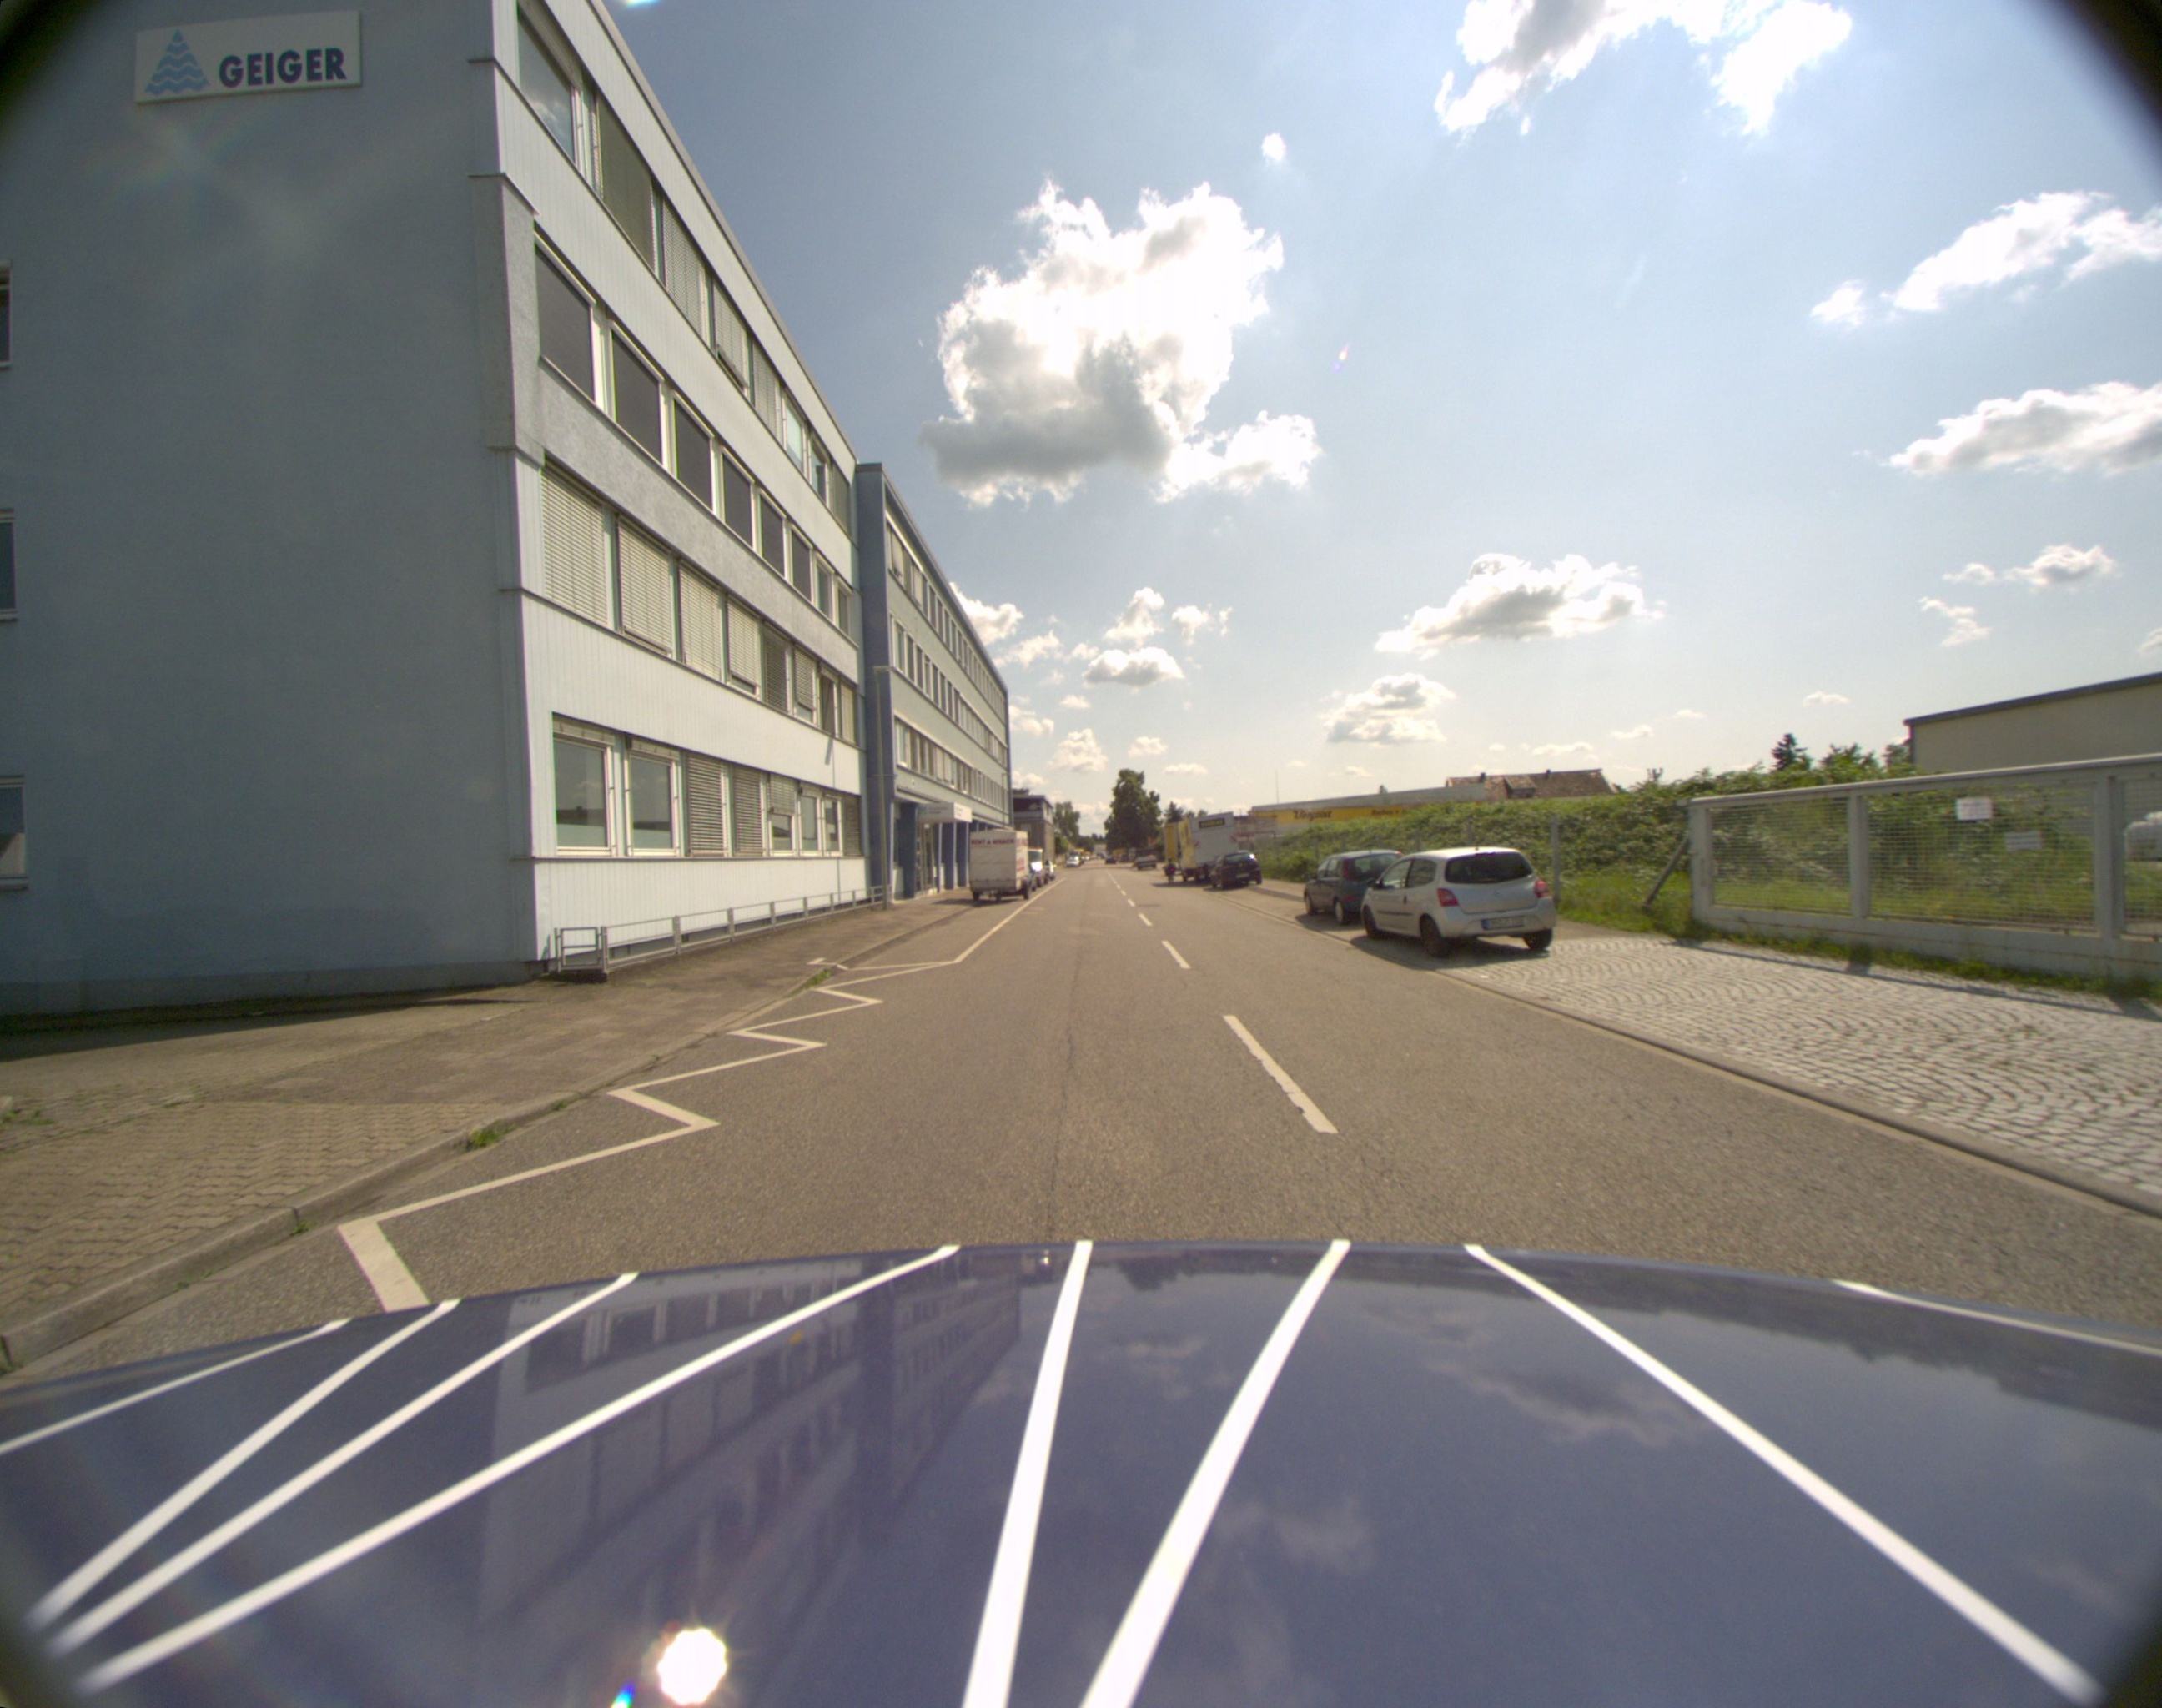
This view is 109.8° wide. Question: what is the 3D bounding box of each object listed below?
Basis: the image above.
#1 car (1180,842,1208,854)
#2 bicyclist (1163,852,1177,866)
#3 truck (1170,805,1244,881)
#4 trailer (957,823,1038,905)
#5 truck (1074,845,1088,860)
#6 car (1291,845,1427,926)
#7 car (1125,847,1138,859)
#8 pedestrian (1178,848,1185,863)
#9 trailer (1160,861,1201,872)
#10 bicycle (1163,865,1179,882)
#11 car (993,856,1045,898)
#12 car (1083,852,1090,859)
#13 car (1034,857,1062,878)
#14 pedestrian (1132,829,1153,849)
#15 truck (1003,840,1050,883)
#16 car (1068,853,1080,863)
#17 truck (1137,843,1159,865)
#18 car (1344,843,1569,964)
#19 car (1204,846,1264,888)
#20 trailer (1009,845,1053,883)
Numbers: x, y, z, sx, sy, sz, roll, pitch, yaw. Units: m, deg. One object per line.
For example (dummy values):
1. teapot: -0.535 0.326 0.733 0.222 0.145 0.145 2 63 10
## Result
1. car: 16.956 -0.871 113.782 4.093 1.703 1.680 -2 0 10
2. bicyclist: 4.309 0.238 36.904 0.567 0.628 1.858 -3 0 4
3. truck: 6.295 -0.502 38.926 2.256 3.342 6.906 -7 0 0
4. trailer: -2.786 0.316 26.617 1.873 2.538 5.072 -2 0 4
5. truck: 0.049 -0.287 143.250 2.402 2.787 6.375 -2 0 2
6. car: 5.869 0.599 16.524 1.572 1.391 3.799 -7 0 3
7. car: 9.882 -0.242 149.401 1.997 2.290 4.003 -2 0 11
8. pedestrian: 10.435 0.141 78.927 0.661 1.536 0.918 -2 0 2
9. trailer: 6.860 0.842 52.844 2.241 0.549 4.444 -2 0 0
10. bicycle: 4.354 0.942 36.899 0.589 0.737 2.125 -2 0 3
11. car: -2.659 0.951 33.537 1.722 1.533 4.403 -3 1 1
12. car: 1.771 0.332 232.966 1.998 2.002 4.000 -2 0 2
13. car: -2.155 0.868 50.431 1.651 1.239 4.000 -2 0 0
14. pedestrian: 6.685 -1.589 82.787 1.998 2.002 4.000 -3 1 2
15. truck: -2.728 0.344 38.914 1.969 2.023 4.734 -2 0 0
16. car: -0.946 0.560 109.694 1.657 1.324 4.000 -2 0 0
17. truck: 7.302 -0.011 83.545 2.133 2.225 7.350 -5 0 4
18. car: 5.564 0.642 11.825 1.619 1.475 3.709 -4 0 1
19. car: 6.312 0.503 31.675 1.623 1.421 3.826 -8 0 1
20. trailer: -2.743 0.505 42.751 1.978 1.959 5.765 -2 0 0
